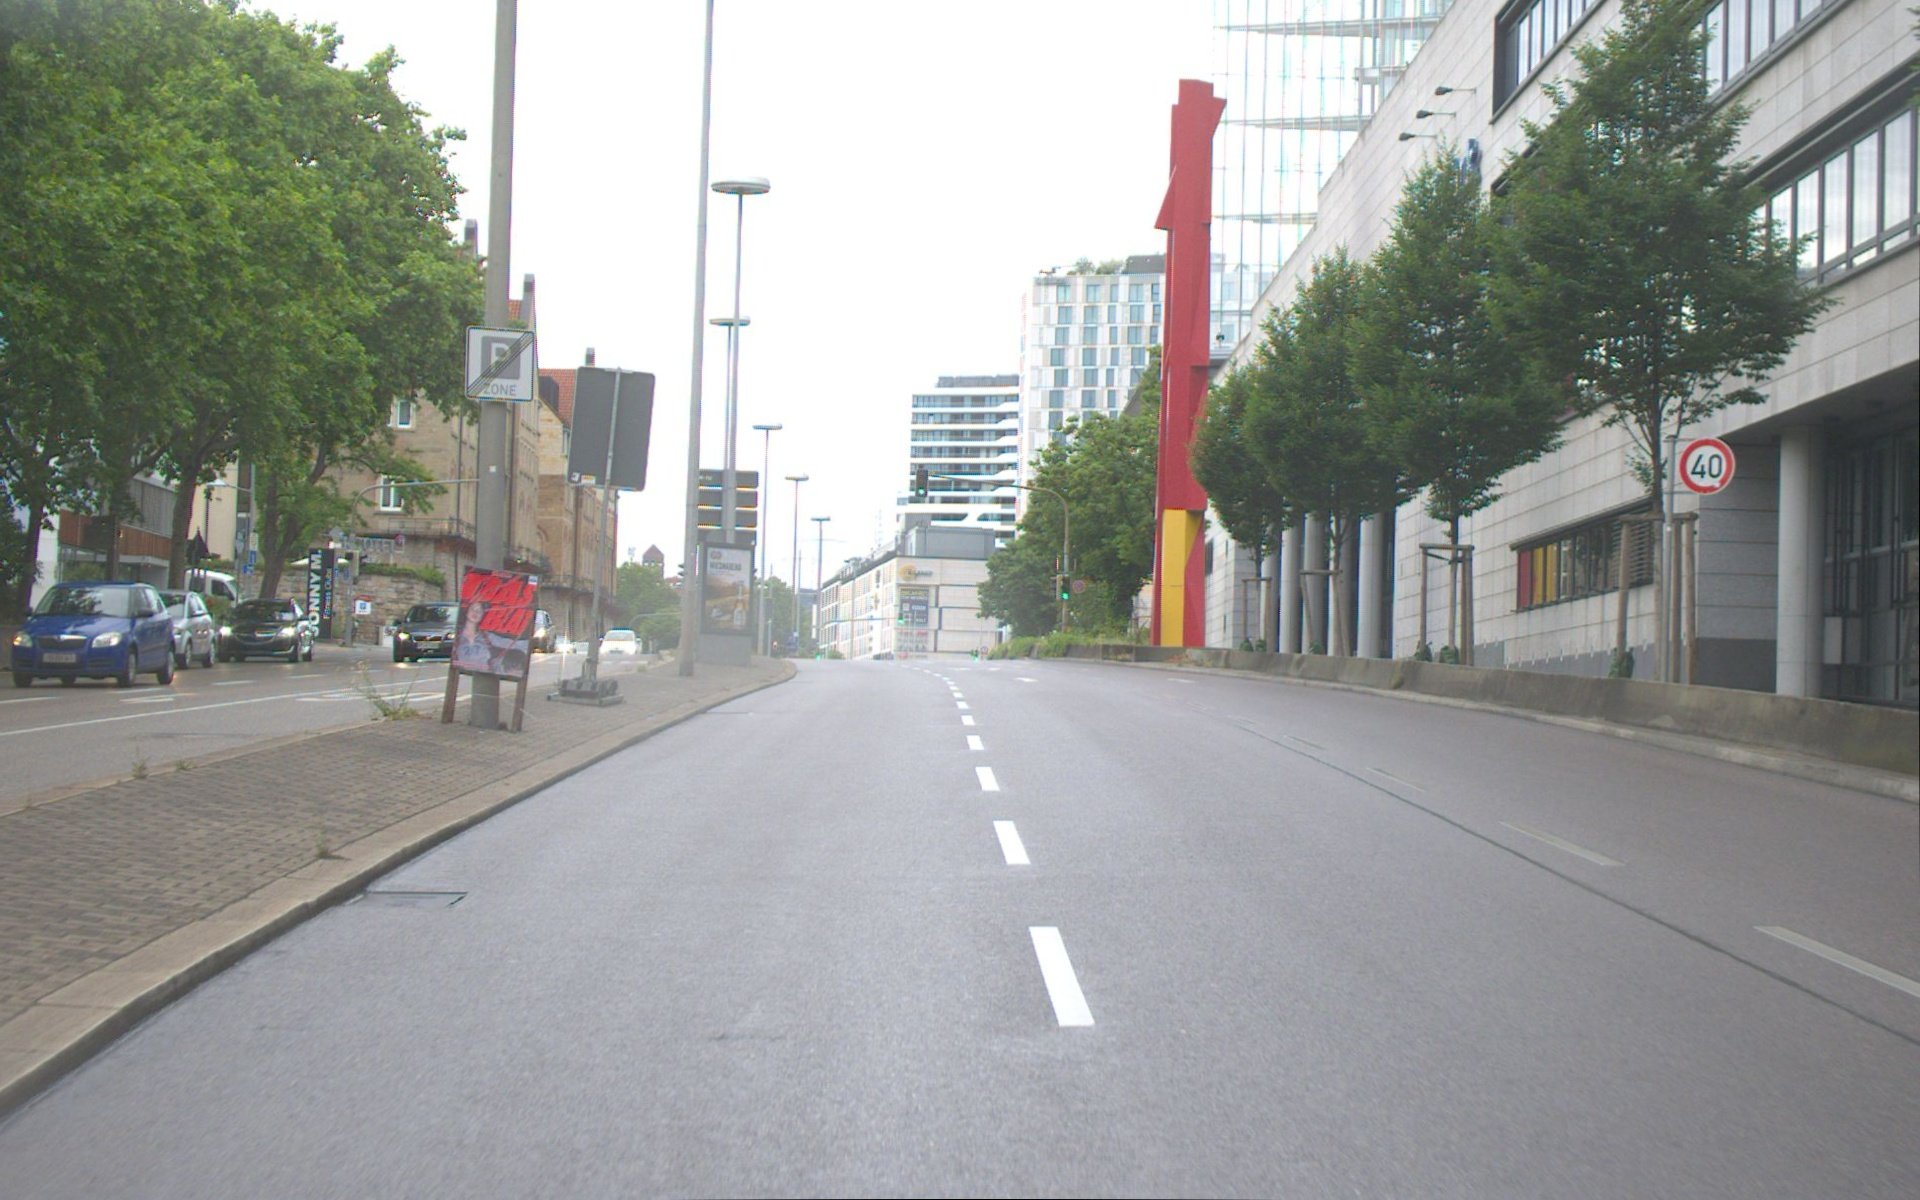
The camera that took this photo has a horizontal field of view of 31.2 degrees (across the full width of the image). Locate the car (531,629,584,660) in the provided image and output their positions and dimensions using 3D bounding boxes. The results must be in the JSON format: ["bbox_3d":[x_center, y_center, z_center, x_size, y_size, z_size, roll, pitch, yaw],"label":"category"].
[{"bbox_3d":[-18.336,2.050,156.778,1.819,1.380,3.999,-1,-1,2],"label":"car"}]

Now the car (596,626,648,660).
[{"bbox_3d":[-15.112,1.941,153.960,1.819,1.464,3.999,-1,-1,2],"label":"car"}]

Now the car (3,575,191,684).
[{"bbox_3d":[-12.185,0.389,48.773,1.608,1.468,4.067,0,0,1],"label":"car"}]

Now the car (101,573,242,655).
[{"bbox_3d":[-15.259,0.251,66.699,1.598,1.486,3.755,2,1,4],"label":"car"}]

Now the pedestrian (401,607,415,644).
[{"bbox_3d":[-24.183,1.105,150.573,0.498,1.605,0.500,1,-1,2],"label":"pedestrian"}]

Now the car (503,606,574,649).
[{"bbox_3d":[-14.391,0.937,117.502,1.819,1.398,3.999,-1,-1,2],"label":"car"}]

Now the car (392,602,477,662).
[{"bbox_3d":[-12.490,0.744,81.827,1.686,1.405,4.000,0,0,-4],"label":"car"}]

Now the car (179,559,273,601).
[{"bbox_3d":[-31.002,-0.830,145.244,3.628,1.695,1.825,0,-1,-3],"label":"car"}]

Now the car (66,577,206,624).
[{"bbox_3d":[-28.299,0.035,118.177,1.823,1.506,4.567,-2,-2,38],"label":"car"}]
